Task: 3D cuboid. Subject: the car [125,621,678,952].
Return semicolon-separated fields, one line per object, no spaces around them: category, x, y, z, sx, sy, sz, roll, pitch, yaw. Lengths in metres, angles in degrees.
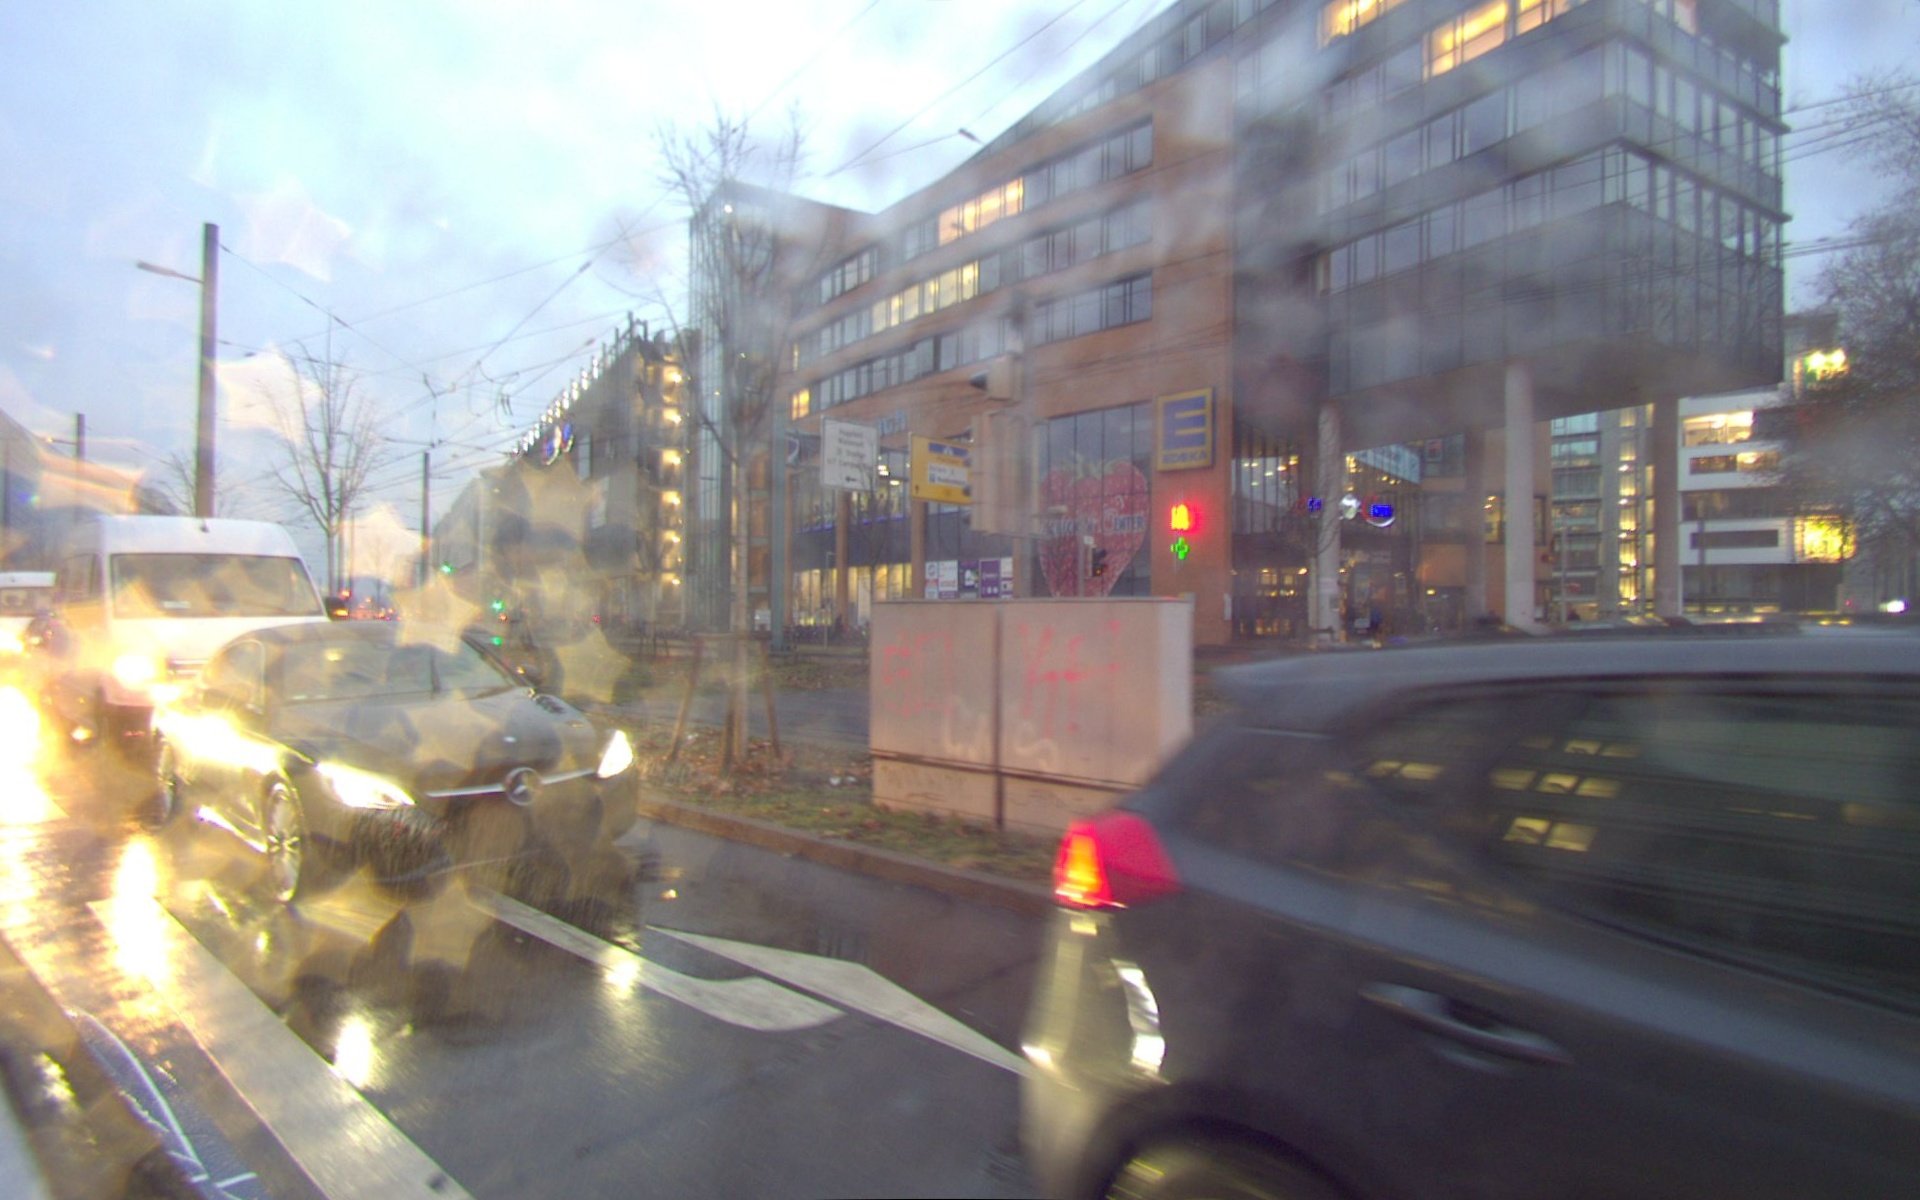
car;-3.740;0.837;6.403;4.224;1.342;1.800;-1;0;42

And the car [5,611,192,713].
car;-13.916;0.903;16.276;3.952;1.409;1.800;-1;0;42

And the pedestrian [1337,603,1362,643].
pedestrian;16.308;0.969;42.406;0.730;1.669;0.695;2;-2;-40

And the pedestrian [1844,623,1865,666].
pedestrian;36.279;1.798;41.053;0.560;1.696;0.590;-1;-2;37

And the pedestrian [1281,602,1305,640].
pedestrian;13.403;0.832;40.745;0.642;1.515;0.695;2;-2;-40

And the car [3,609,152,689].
car;-17.724;0.917;20.268;3.952;1.409;1.800;-1;0;42

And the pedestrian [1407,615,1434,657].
pedestrian;17.075;1.326;37.517;0.642;1.515;0.695;2;-2;-40

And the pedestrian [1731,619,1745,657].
pedestrian;36.285;1.772;47.192;0.446;1.764;0.645;-1;-2;41

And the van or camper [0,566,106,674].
van or camper;-22.534;0.457;24.694;2.155;2.370;5.653;-1;0;-44

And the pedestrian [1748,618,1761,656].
pedestrian;36.792;1.695;46.871;0.446;1.764;0.645;-1;-2;41

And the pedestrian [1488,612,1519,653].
pedestrian;23.145;1.364;43.091;0.910;1.721;0.696;1;-2;-20

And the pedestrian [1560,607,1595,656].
pedestrian;23.447;1.197;38.435;0.763;1.860;0.924;2;-2;-40

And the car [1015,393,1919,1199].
car;2.039;0.586;1.196;3.760;1.585;1.662;-1;-2;42

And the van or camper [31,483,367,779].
van or camper;-8.886;0.269;11.542;5.885;2.567;2.034;0;0;43

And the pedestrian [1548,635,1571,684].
pedestrian;15.901;1.568;26.841;0.495;1.274;0.440;0;0;37
